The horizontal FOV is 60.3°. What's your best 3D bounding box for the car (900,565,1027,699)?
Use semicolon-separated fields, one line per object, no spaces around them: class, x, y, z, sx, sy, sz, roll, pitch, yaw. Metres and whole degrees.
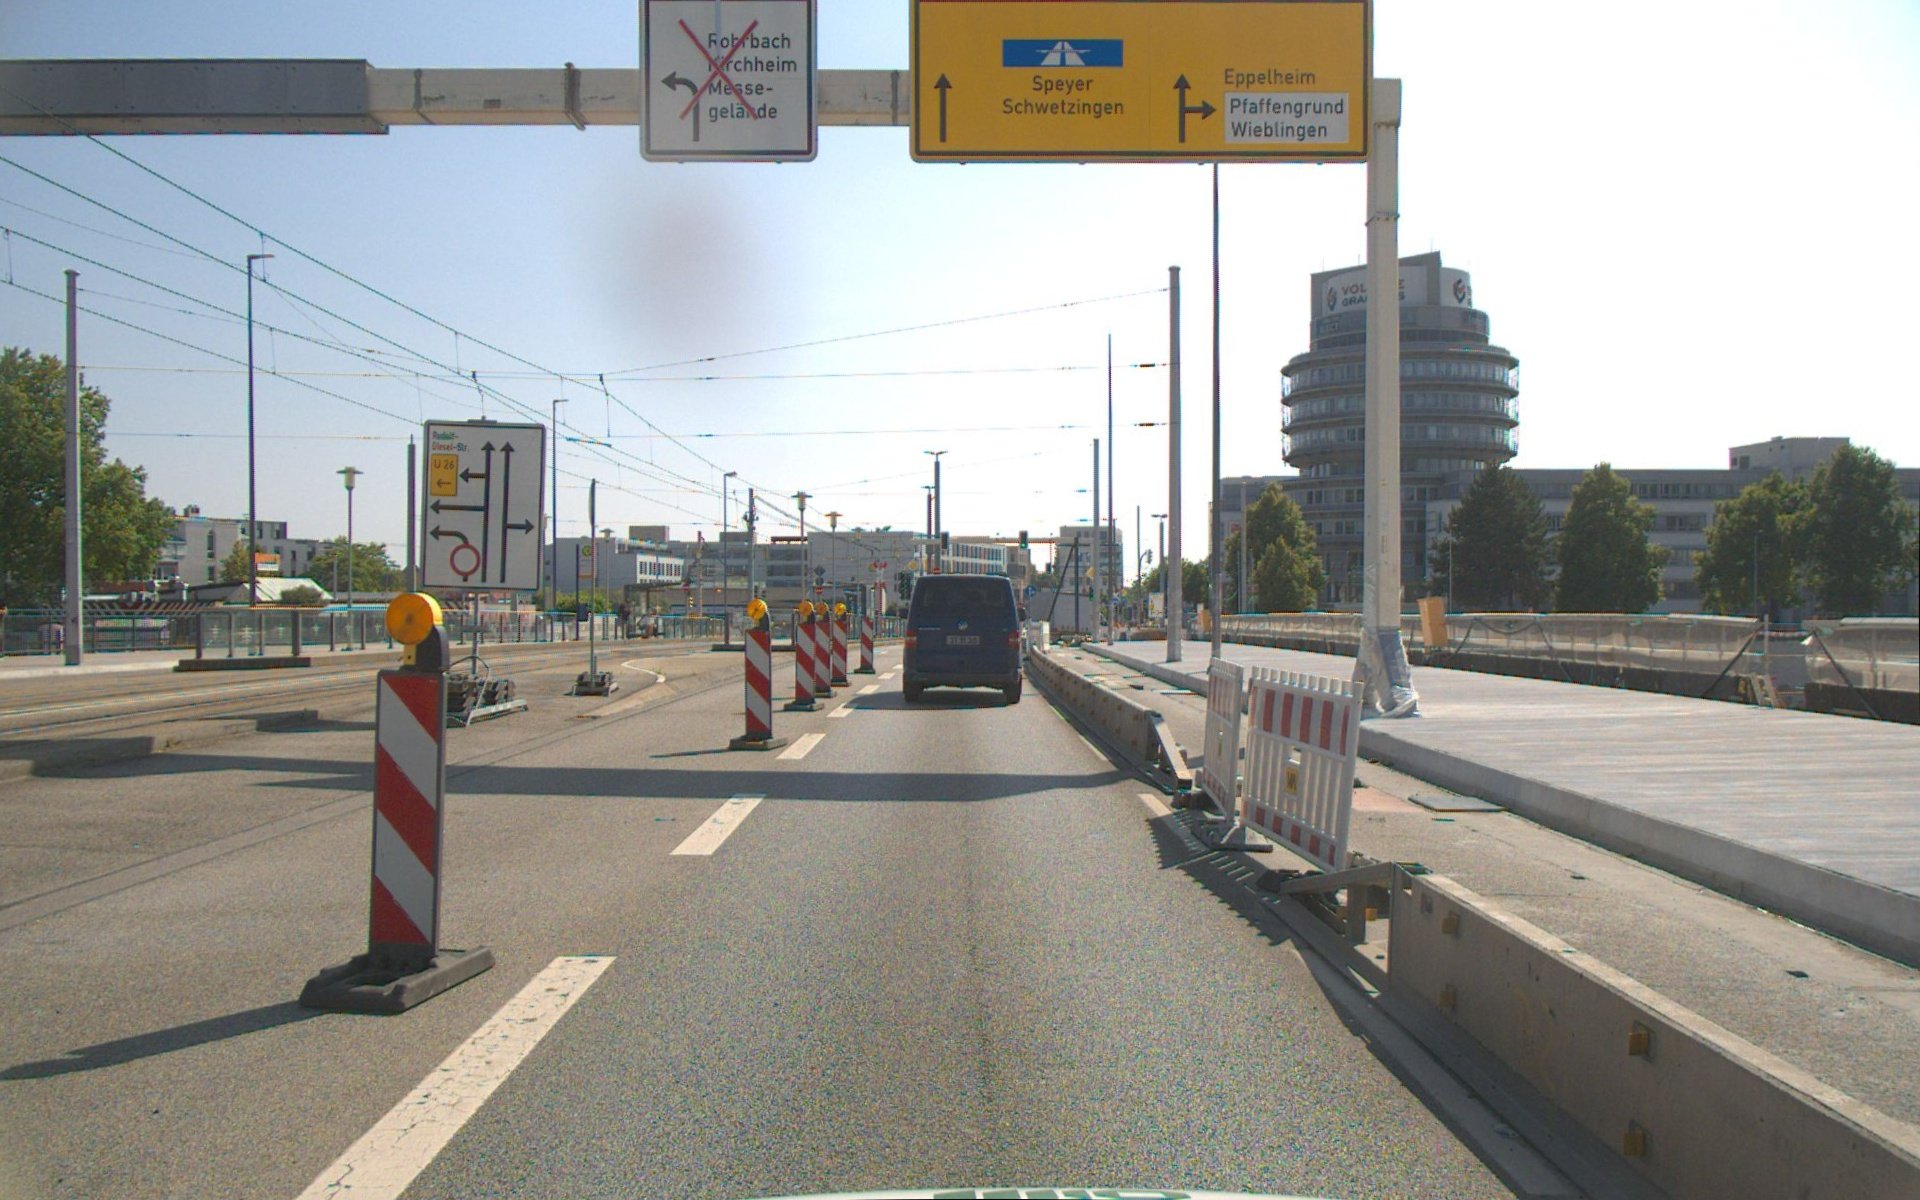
car;0.030;0.474;26.791;1.849;1.968;3.999;2;0;-1

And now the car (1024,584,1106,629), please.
car;7.184;0.456;112.634;2.306;2.937;5.931;1;0;43

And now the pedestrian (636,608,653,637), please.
pedestrian;-13.960;0.985;73.298;0.634;1.296;0.453;0;-1;5

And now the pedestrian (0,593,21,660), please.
pedestrian;-24.953;0.676;42.922;0.737;1.716;0.732;0;0;2

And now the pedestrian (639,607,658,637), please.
pedestrian;-13.908;0.984;73.883;0.634;1.296;0.697;0;-1;5

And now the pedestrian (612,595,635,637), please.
pedestrian;-13.534;0.649;66.523;0.646;1.683;0.740;0;0;12
